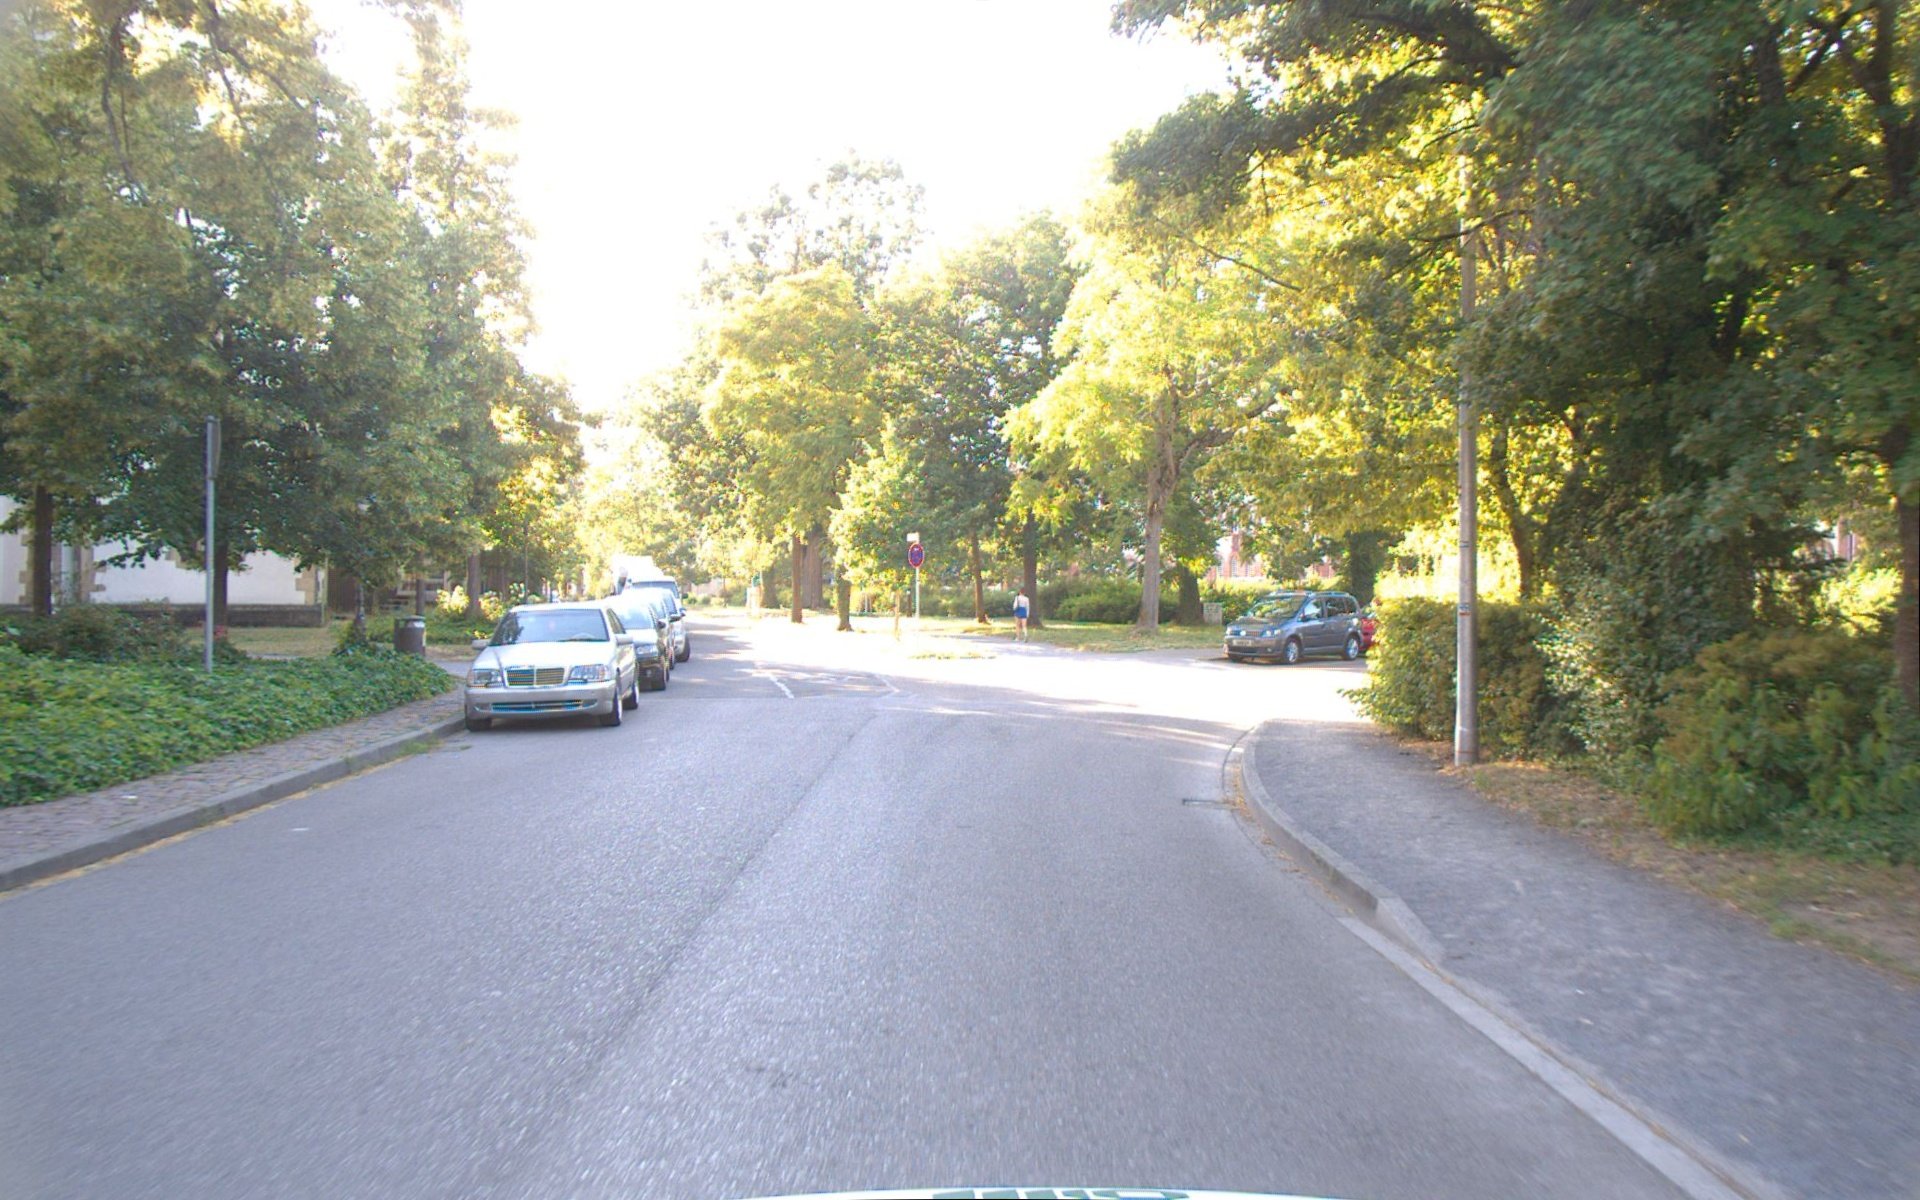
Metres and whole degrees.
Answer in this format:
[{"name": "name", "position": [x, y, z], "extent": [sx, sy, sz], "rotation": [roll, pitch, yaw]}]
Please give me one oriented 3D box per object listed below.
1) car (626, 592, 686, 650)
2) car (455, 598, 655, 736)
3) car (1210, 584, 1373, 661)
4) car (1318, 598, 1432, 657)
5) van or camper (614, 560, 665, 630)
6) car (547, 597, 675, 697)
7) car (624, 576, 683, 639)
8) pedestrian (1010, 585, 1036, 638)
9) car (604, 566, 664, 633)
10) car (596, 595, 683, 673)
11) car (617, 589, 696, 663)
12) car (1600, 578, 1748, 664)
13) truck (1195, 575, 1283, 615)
[{"name": "car", "position": [-8.443, 0.561, 46.022], "extent": [1.587, 1.527, 3.688], "rotation": [0, 0, -10]}, {"name": "car", "position": [-4.884, 0.737, 20.519], "extent": [1.745, 1.440, 4.492], "rotation": [-2, 1, -6]}, {"name": "car", "position": [8.081, 0.525, 40.107], "extent": [1.778, 1.705, 4.289], "rotation": [3, 2, 45]}, {"name": "car", "position": [10.978, 0.705, 43.689], "extent": [1.369, 1.448, 3.402], "rotation": [3, 2, 45]}, {"name": "van or camper", "position": [-14.346, -0.237, 73.802], "extent": [2.053, 2.959, 6.311], "rotation": [0, 0, -13]}, {"name": "car", "position": [-5.701, 0.710, 27.456], "extent": [1.791, 1.440, 4.486], "rotation": [-2, 1, -9]}, {"name": "car", "position": [-10.062, 0.220, 54.423], "extent": [1.817, 1.980, 4.829], "rotation": [0, 0, -10]}, {"name": "pedestrian", "position": [1.891, 0.338, 49.714], "extent": [0.757, 1.602, 0.767], "rotation": [0, 0, -1]}, {"name": "car", "position": [-12.236, -0.017, 61.831], "extent": [1.821, 2.397, 5.164], "rotation": [0, 0, -15]}, {"name": "car", "position": [-6.507, 0.658, 33.824], "extent": [1.582, 1.465, 3.598], "rotation": [-1, 0, -9]}, {"name": "car", "position": [-6.894, 0.554, 37.667], "extent": [1.673, 1.606, 3.688], "rotation": [0, 0, -10]}, {"name": "car", "position": [18.298, 0.504, 42.266], "extent": [1.924, 2.049, 5.121], "rotation": [0, 0, 42]}, {"name": "truck", "position": [22.485, -0.422, 133.832], "extent": [2.576, 3.082, 7.928], "rotation": [1, 0, -30]}]
